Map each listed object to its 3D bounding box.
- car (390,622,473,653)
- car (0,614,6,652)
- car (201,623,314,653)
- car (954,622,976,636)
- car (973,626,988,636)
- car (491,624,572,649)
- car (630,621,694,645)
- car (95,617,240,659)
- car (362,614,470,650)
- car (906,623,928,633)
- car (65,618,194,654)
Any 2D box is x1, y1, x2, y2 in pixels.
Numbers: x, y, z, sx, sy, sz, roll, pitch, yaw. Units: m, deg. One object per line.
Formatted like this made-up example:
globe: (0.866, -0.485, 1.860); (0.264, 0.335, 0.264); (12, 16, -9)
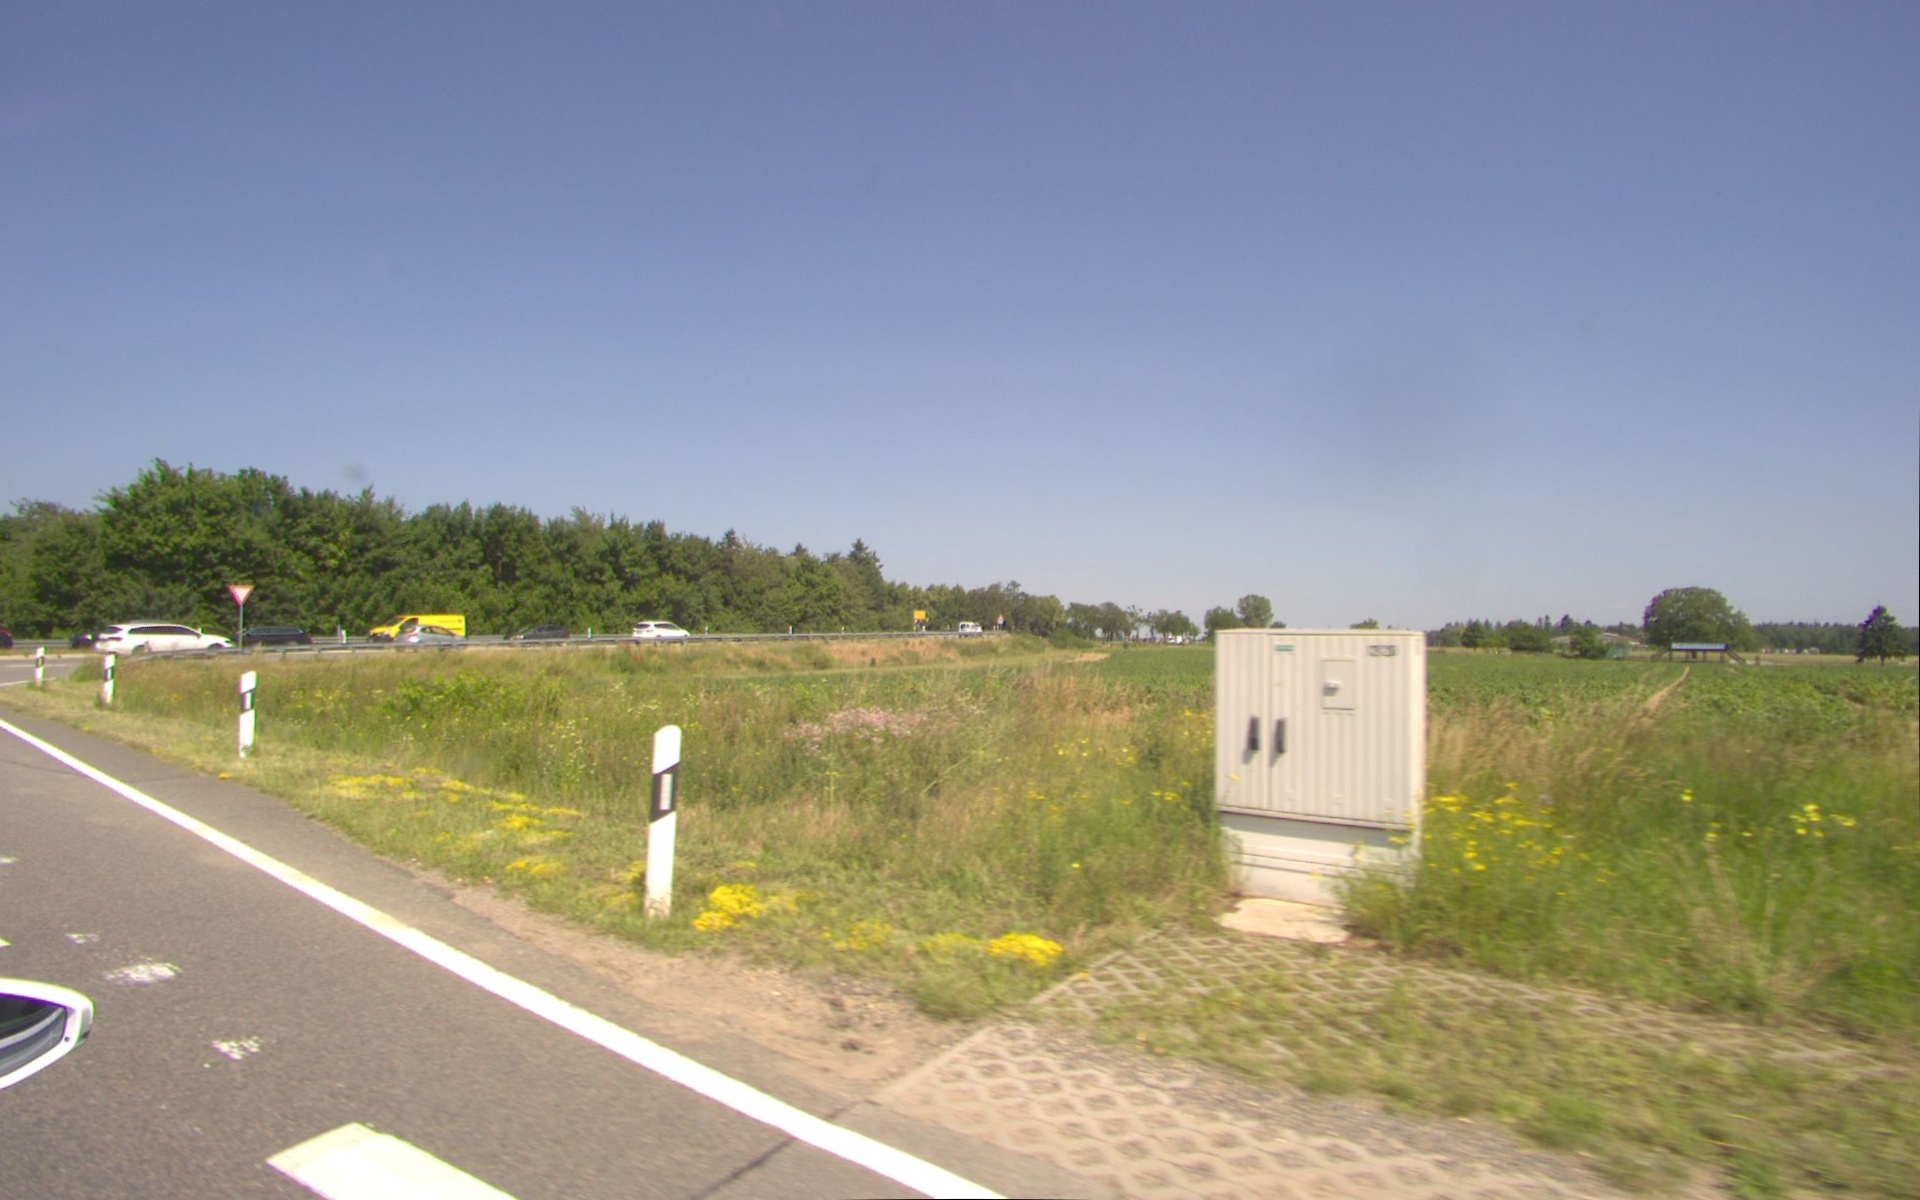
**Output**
car: (-28.339, 2.004, 53.807); (1.710, 1.587, 3.684); (-1, -2, 24)
car: (-44.599, 1.462, 43.817); (1.819, 1.661, 3.970); (-1, -2, 38)
car: (-37.507, 2.016, 53.582); (1.832, 1.533, 4.662); (-1, -2, 40)
car: (0.631, 3.399, 116.701); (1.686, 1.589, 3.997); (-1, -2, 15)
car: (2.644, 4.039, 129.178); (1.684, 1.204, 4.002); (0, -3, 4)
car: (-27.877, 2.364, 65.290); (1.829, 1.533, 4.670); (-1, -2, 35)
car: (-20.415, 2.244, 68.789); (1.711, 1.587, 4.470); (-1, -2, 25)
car: (-33.051, 1.535, 41.896); (1.713, 1.587, 4.463); (-1, 0, 29)
car: (-31.931, 1.881, 58.917); (1.973, 2.039, 5.310); (-1, -2, 34)
car: (-6.536, 4.262, 150.881); (1.823, 1.533, 4.684); (0, -2, -23)
car: (-39.587, 1.717, 47.852); (1.744, 1.618, 4.474); (-1, -2, 35)
